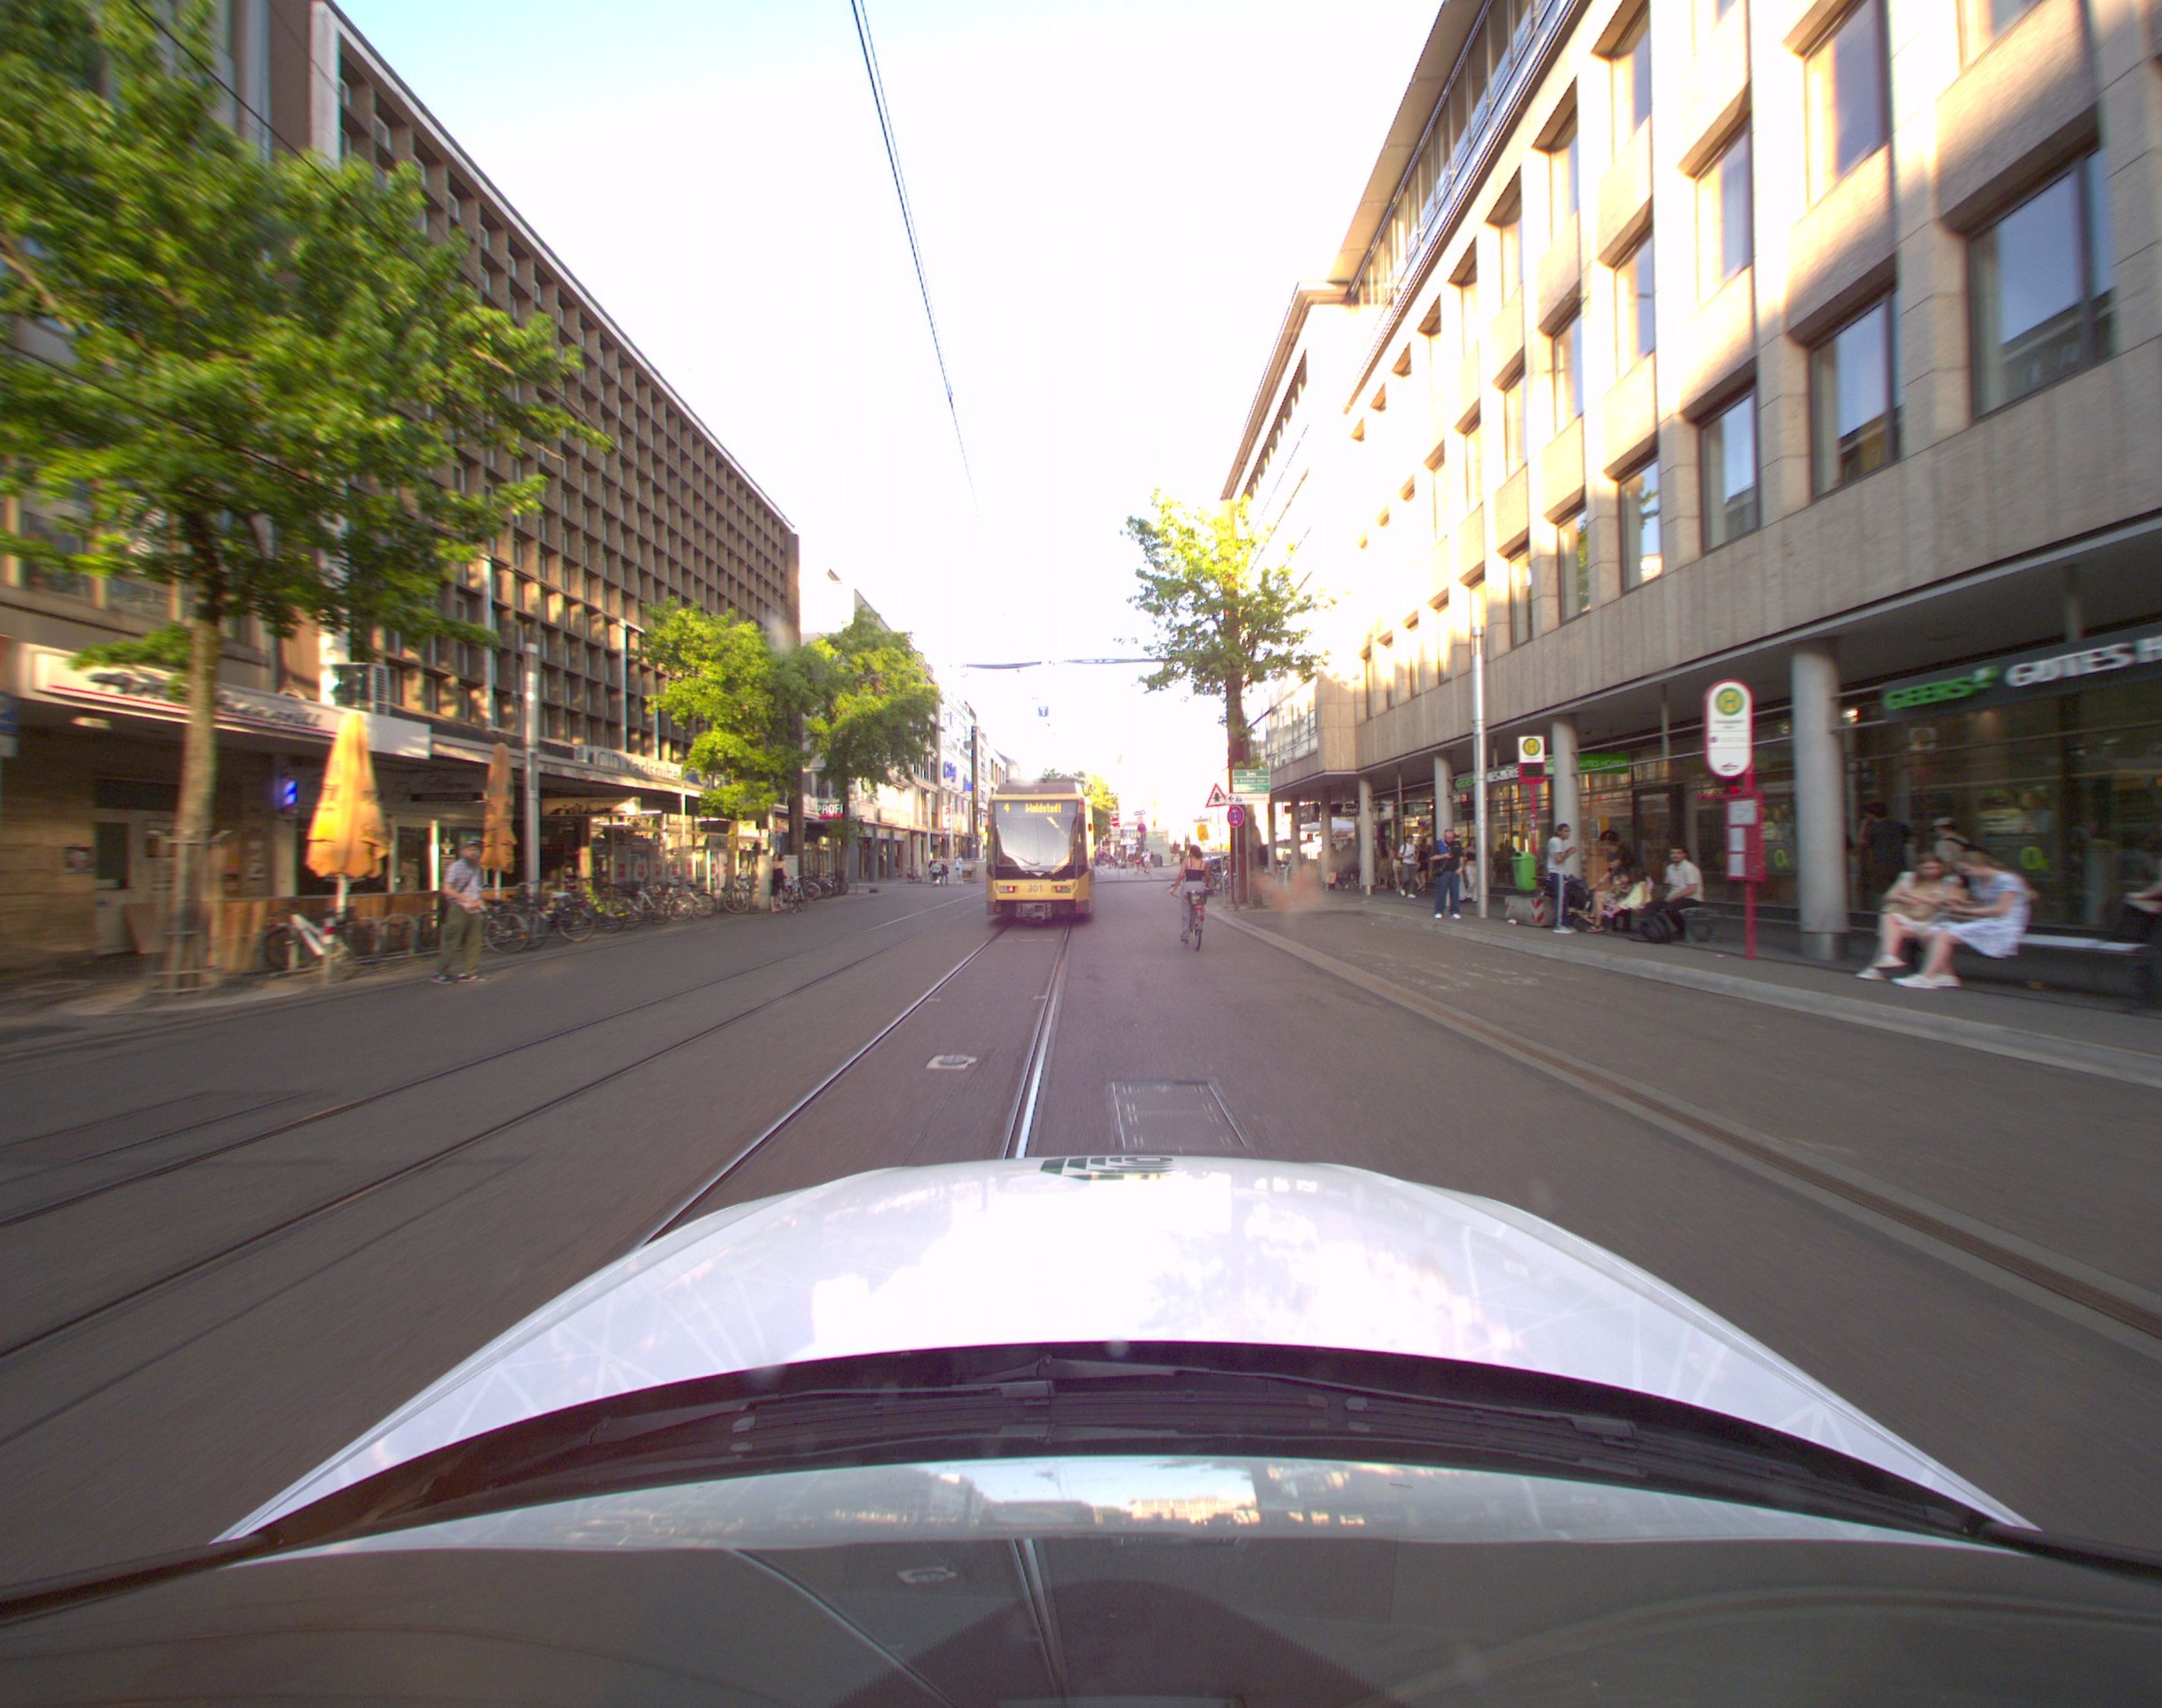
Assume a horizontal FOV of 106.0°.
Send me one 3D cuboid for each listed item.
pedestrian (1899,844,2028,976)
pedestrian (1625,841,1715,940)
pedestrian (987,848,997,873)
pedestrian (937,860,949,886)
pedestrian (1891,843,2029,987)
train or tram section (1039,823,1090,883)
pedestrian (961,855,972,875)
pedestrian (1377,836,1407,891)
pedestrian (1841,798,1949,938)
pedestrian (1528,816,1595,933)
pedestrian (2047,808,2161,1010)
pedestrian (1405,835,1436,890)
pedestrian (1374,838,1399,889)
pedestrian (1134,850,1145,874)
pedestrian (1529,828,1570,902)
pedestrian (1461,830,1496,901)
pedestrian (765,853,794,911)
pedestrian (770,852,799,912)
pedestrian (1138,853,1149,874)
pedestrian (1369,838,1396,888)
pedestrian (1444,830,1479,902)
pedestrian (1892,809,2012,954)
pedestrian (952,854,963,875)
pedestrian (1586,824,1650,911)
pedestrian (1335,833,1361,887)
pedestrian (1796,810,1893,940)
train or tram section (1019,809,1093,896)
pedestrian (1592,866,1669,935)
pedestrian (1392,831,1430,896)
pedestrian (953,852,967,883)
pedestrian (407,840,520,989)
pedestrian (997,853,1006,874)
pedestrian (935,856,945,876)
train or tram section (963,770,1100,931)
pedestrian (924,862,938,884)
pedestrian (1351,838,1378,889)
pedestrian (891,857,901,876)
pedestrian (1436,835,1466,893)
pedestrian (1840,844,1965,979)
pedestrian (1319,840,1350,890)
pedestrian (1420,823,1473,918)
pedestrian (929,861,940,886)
[{"bbox_3d":[9.061,0.560,8.383,0.715,1.314,0.532,-1,-1,2],"label":"pedestrian"},{"bbox_3d":[8.495,0.514,11.764,0.810,1.381,0.662,-1,-1,2],"label":"pedestrian"},{"bbox_3d":[-7.114,0.529,65.380,0.712,1.925,0.708,-1,-1,-5],"label":"pedestrian"},{"bbox_3d":[-8.457,1.148,49.812,0.684,1.542,0.603,-1,-1,-9],"label":"pedestrian"},{"bbox_3d":[8.314,0.561,7.727,0.715,1.314,0.524,-1,-1,2],"label":"pedestrian"},{"bbox_3d":[-0.895,-0.036,53.394,2.791,3.319,14.506,-1,0,0],"label":"train or tram section"},{"bbox_3d":[-9.645,0.929,68.429,0.631,1.588,0.598,0,-2,-42],"label":"pedestrian"},{"bbox_3d":[10.408,0.322,27.301,0.660,1.787,0.719,-2,-1,1],"label":"pedestrian"},{"bbox_3d":[11.485,0.192,11.515,0.685,1.883,0.773,-2,-1,-1],"label":"pedestrian"},{"bbox_3d":[7.800,0.328,13.240,0.637,1.839,0.668,-2,-1,1],"label":"pedestrian"},{"bbox_3d":[8.744,0.415,6.671,0.721,1.570,0.736,-2,-1,2],"label":"pedestrian"},{"bbox_3d":[11.326,0.291,27.171,0.660,1.787,0.719,-2,-1,1],"label":"pedestrian"},{"bbox_3d":[11.373,0.363,30.345,0.659,1.848,0.720,-2,-1,6],"label":"pedestrian"},{"bbox_3d":[4.254,0.555,59.364,0.716,1.725,0.709,-1,-1,0],"label":"pedestrian"},{"bbox_3d":[11.273,0.271,19.595,0.568,1.731,0.617,-2,-1,-1],"label":"pedestrian"},{"bbox_3d":[10.299,0.291,21.119,0.537,1.806,0.604,-2,-1,-1],"label":"pedestrian"},{"bbox_3d":[-8.947,0.814,24.145,0.595,1.699,0.539,0,0,29],"label":"pedestrian"},{"bbox_3d":[-8.612,0.805,23.667,0.595,1.699,0.539,0,0,29],"label":"pedestrian"},{"bbox_3d":[5.679,0.869,74.434,0.734,1.823,0.816,-1,0,-14],"label":"pedestrian"},{"bbox_3d":[11.008,0.339,29.731,0.660,1.787,0.719,-2,-1,1],"label":"pedestrian"},{"bbox_3d":[9.747,0.295,20.882,0.537,1.806,0.604,-2,-1,-1],"label":"pedestrian"},{"bbox_3d":[10.408,0.317,9.760,0.645,1.661,0.681,-2,0,1],"label":"pedestrian"},{"bbox_3d":[-10.278,0.877,67.981,0.632,1.725,0.598,0,-2,-43],"label":"pedestrian"},{"bbox_3d":[11.400,0.278,17.305,0.770,1.772,0.773,-2,-1,-1],"label":"pedestrian"},{"bbox_3d":[10.074,0.230,30.745,0.684,2.014,0.783,-2,-1,1],"label":"pedestrian"},{"bbox_3d":[10.827,0.290,11.580,0.580,1.753,0.773,-2,-1,-1],"label":"pedestrian"},{"bbox_3d":[-0.951,-0.058,38.868,2.791,3.319,14.506,-1,0,0],"label":"train or tram section"},{"bbox_3d":[8.497,0.710,12.612,0.810,1.042,0.544,-1,-1,2],"label":"pedestrian"},{"bbox_3d":[9.534,0.268,23.545,0.666,1.839,0.880,-2,-1,0],"label":"pedestrian"},{"bbox_3d":[-7.667,0.867,51.638,0.772,1.926,0.707,-1,-1,-8],"label":"pedestrian"},{"bbox_3d":[-7.915,0.734,10.442,0.978,1.792,0.827,1,-1,33],"label":"pedestrian"},{"bbox_3d":[-6.718,0.816,68.484,0.712,1.698,0.784,-1,-1,-6],"label":"pedestrian"},{"bbox_3d":[-12.274,1.021,70.772,0.711,1.725,0.709,-1,-1,-1],"label":"pedestrian"},{"bbox_3d":[-1.014,-0.064,24.386,2.791,3.319,14.506,-1,0,0],"label":"train or tram section"},{"bbox_3d":[-9.660,1.211,52.441,0.548,1.434,0.689,-2,-2,38],"label":"pedestrian"},{"bbox_3d":[10.319,0.345,29.679,0.660,1.787,0.719,-2,-1,1],"label":"pedestrian"},{"bbox_3d":[-16.596,1.126,73.169,0.711,1.725,0.709,-1,-1,-1],"label":"pedestrian"},{"bbox_3d":[11.280,0.305,24.832,0.568,1.731,0.617,-2,-1,-1],"label":"pedestrian"},{"bbox_3d":[8.322,0.566,8.271,0.715,1.314,0.532,-1,-1,2],"label":"pedestrian"},{"bbox_3d":[8.942,0.398,28.721,0.760,1.719,0.924,-2,-1,1],"label":"pedestrian"},{"bbox_3d":[7.314,0.320,16.327,0.666,1.839,0.708,-2,-1,0],"label":"pedestrian"},{"bbox_3d":[-8.802,1.183,49.058,0.603,1.494,0.554,-1,-1,-8],"label":"pedestrian"}]
